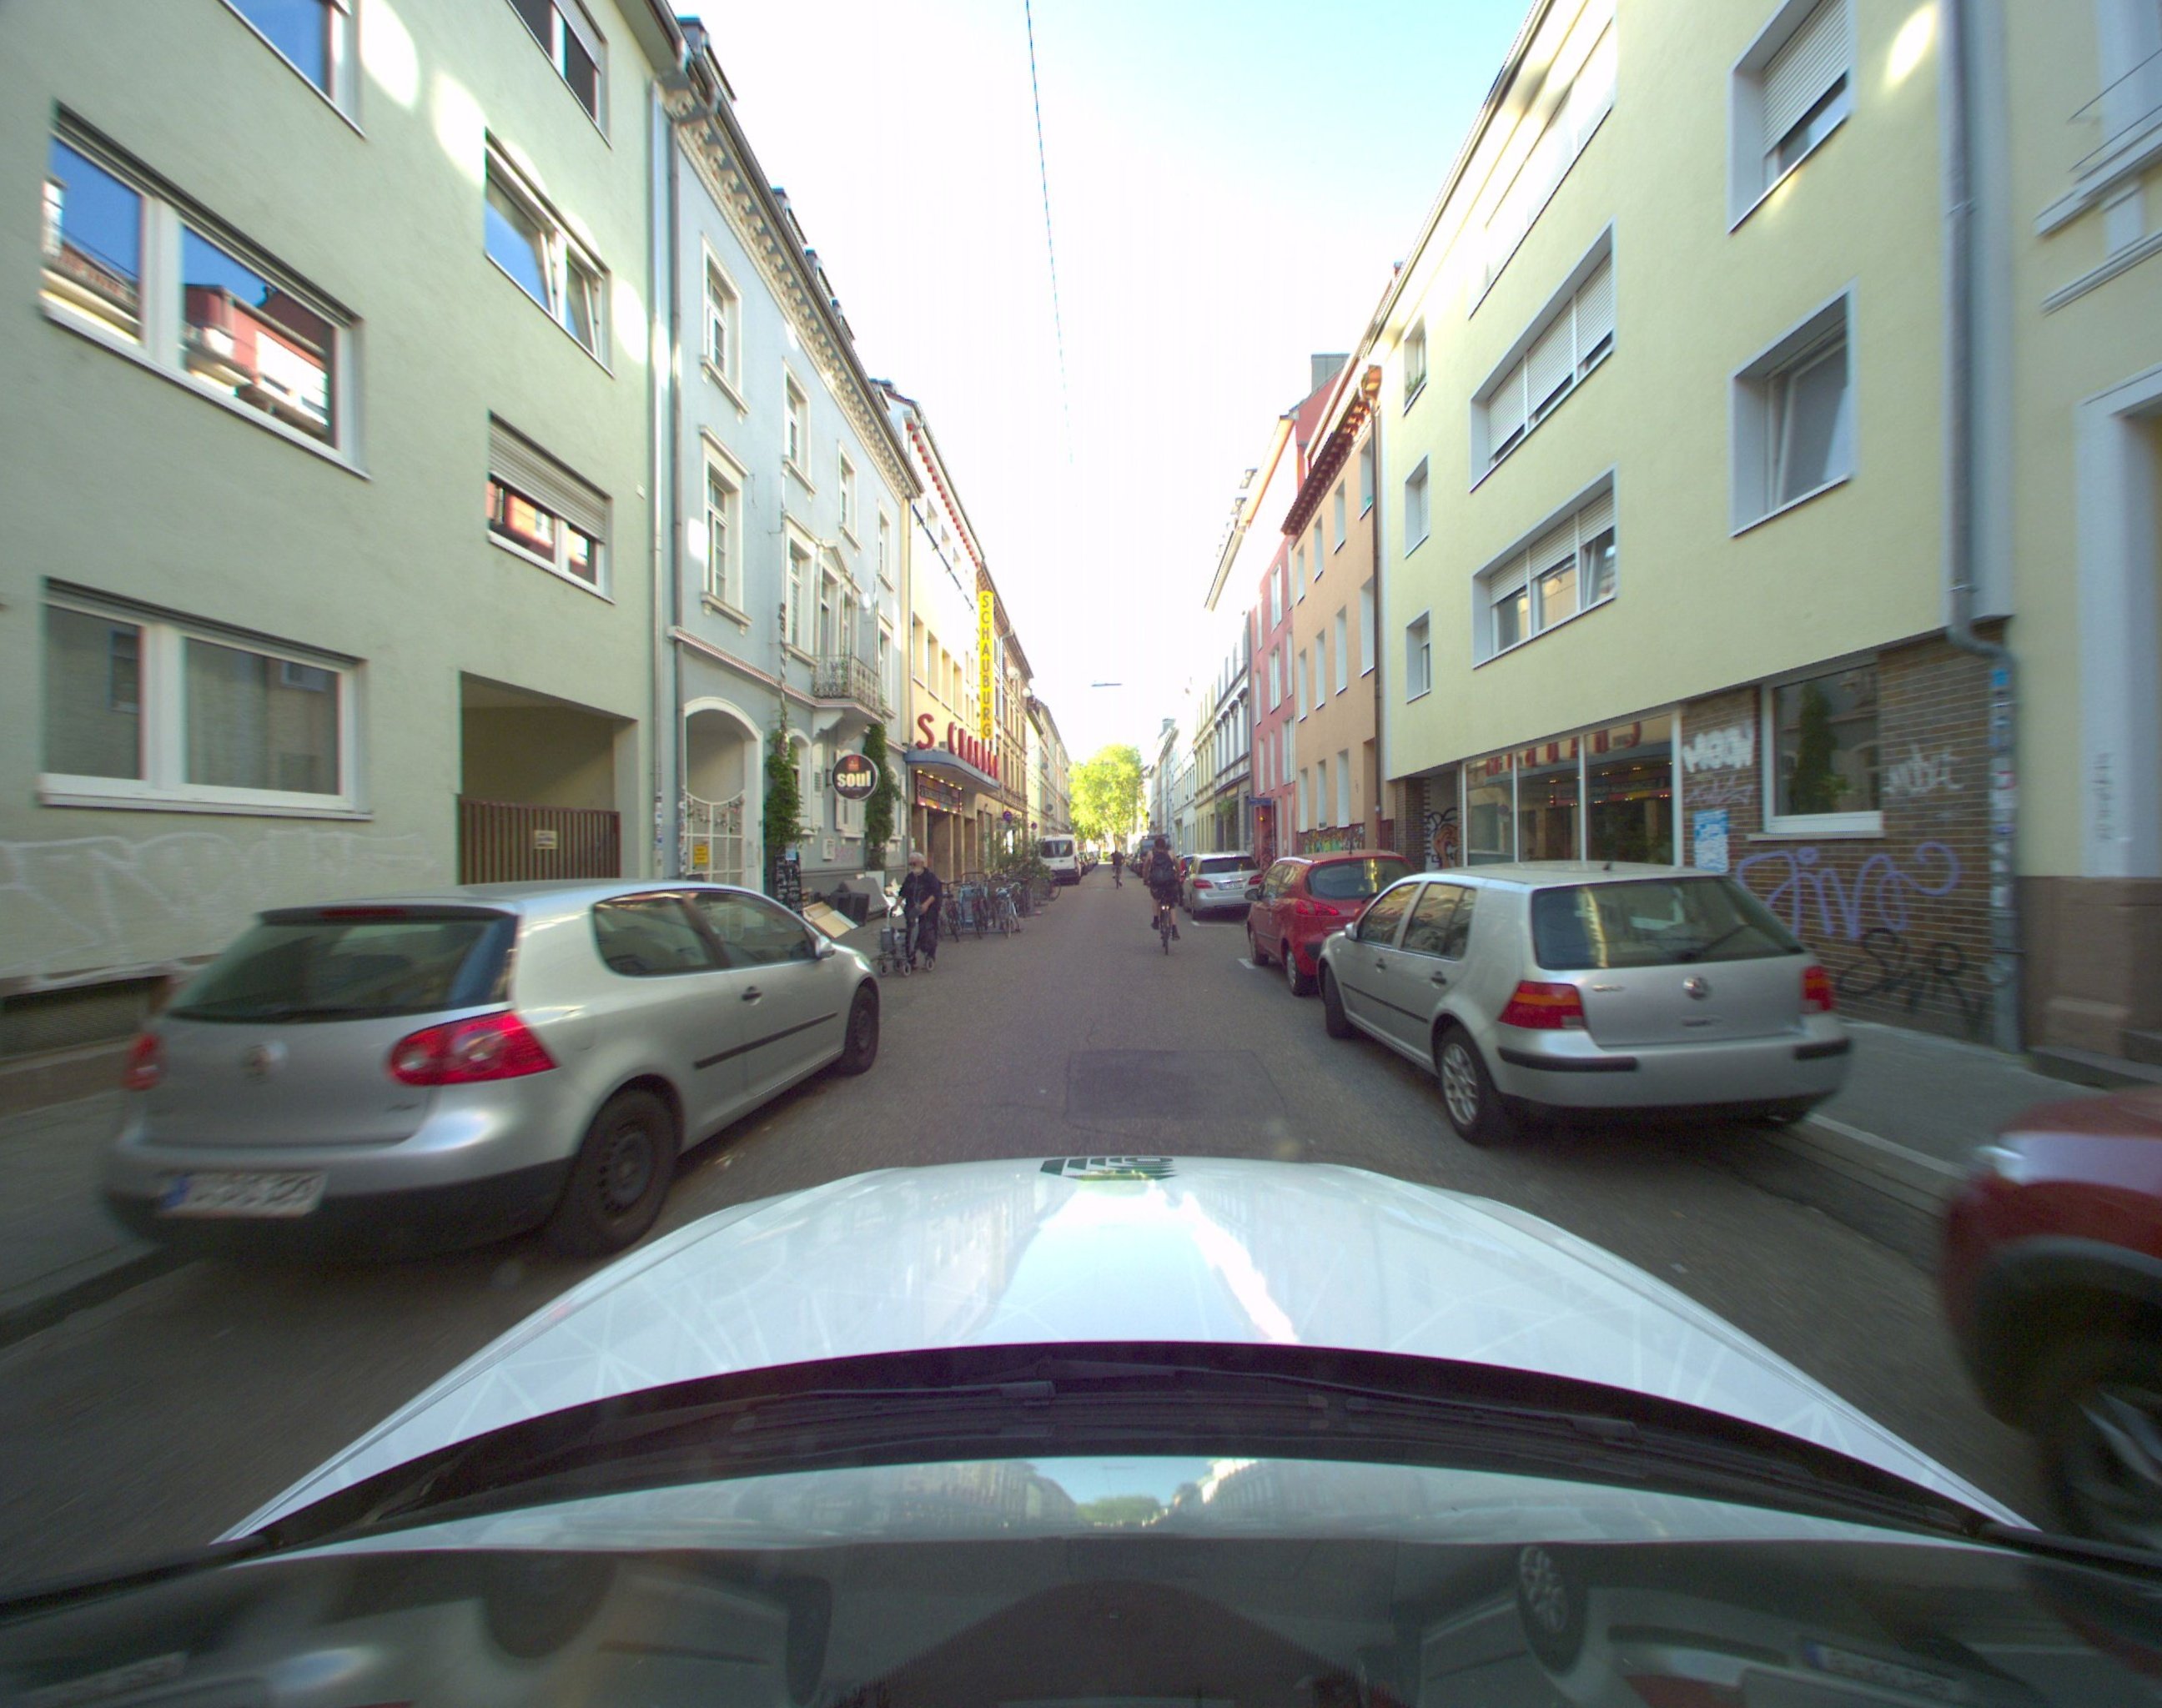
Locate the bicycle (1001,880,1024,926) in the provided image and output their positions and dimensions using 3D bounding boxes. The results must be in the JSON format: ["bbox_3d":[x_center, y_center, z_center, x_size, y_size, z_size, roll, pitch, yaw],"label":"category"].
[{"bbox_3d":[-1.472,1.038,17.552,0.320,0.916,1.291,-1,0,3],"label":"bicycle"}]

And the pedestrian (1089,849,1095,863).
[{"bbox_3d":[1.435,0.295,105.202,0.784,1.817,0.650,1,0,-5],"label":"pedestrian"}]

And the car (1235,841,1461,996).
[{"bbox_3d":[3.102,0.654,10.308,1.690,1.523,3.983,-2,0,3],"label":"car"}]

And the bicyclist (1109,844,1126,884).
[{"bbox_3d":[1.556,0.430,34.670,0.667,1.658,0.877,-1,0,2],"label":"bicyclist"}]

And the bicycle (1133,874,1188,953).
[{"bbox_3d":[1.230,0.891,12.958,0.737,1.100,2.043,1,0,2],"label":"bicycle"}]

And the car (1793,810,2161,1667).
[{"bbox_3d":[2.784,0.681,0.213,1.782,1.551,4.002,-1,0,2],"label":"car"}]

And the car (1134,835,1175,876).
[{"bbox_3d":[4.670,0.079,52.518,2.167,2.425,6.311,-2,0,2],"label":"car"}]

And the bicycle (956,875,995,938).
[{"bbox_3d":[-2.040,0.983,15.932,0.441,1.105,1.932,0,0,2],"label":"bicycle"}]

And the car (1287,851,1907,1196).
[{"bbox_3d":[2.804,0.740,5.687,1.682,1.453,4.194,-2,0,1],"label":"car"}]

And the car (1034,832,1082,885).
[{"bbox_3d":[-1.090,0.219,42.498,2.160,2.452,5.922,-2,0,1],"label":"car"}]

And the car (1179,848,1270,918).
[{"bbox_3d":[3.505,0.638,20.516,1.739,1.556,4.175,-1,0,3],"label":"car"}]

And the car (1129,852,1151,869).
[{"bbox_3d":[5.283,0.567,73.735,1.719,1.429,3.833,-1,0,1],"label":"car"}]

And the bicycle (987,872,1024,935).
[{"bbox_3d":[-1.454,0.937,15.953,0.497,1.105,1.830,0,0,2],"label":"bicycle"}]

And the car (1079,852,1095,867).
[{"bbox_3d":[0.665,0.601,90.830,1.599,1.530,3.379,-2,0,0],"label":"car"}]

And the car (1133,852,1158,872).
[{"bbox_3d":[5.037,0.585,63.839,1.739,1.485,4.245,-1,0,2],"label":"car"}]

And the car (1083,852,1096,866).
[{"bbox_3d":[1.006,0.566,98.202,1.540,1.550,3.463,-1,0,-1],"label":"car"}]

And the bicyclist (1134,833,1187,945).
[{"bbox_3d":[1.232,0.531,12.817,0.737,1.679,1.117,1,0,1],"label":"bicyclist"}]

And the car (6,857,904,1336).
[{"bbox_3d":[-2.483,0.796,4.621,1.672,1.454,4.040,-2,0,5],"label":"car"}]

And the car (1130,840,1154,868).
[{"bbox_3d":[5.915,0.007,79.109,2.194,2.550,6.043,-1,0,4],"label":"car"}]

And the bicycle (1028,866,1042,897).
[{"bbox_3d":[-1.624,0.969,29.035,0.441,1.047,1.864,1,0,-2],"label":"bicycle"}]

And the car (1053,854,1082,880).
[{"bbox_3d":[-0.772,0.724,48.548,1.640,1.447,3.840,-1,0,0],"label":"car"}]

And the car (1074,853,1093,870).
[{"bbox_3d":[0.261,0.695,75.832,1.585,1.440,3.656,-1,0,3],"label":"car"}]

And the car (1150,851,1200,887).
[{"bbox_3d":[4.236,0.642,37.388,1.780,1.454,4.548,-4,0,1],"label":"car"}]

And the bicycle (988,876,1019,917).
[{"bbox_3d":[-1.932,1.042,20.460,0.551,0.944,1.573,-1,0,3],"label":"bicycle"}]

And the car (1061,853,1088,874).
[{"bbox_3d":[-0.435,0.673,59.837,1.856,1.440,4.644,-2,1,0],"label":"car"}]

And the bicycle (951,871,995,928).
[{"bbox_3d":[-2.333,0.972,17.699,0.810,1.175,0.920,-1,0,0],"label":"bicycle"}]

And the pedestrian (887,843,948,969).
[{"bbox_3d":[-2.276,0.708,11.371,0.711,1.708,0.671,0,-1,-1],"label":"pedestrian"}]

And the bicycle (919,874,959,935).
[{"bbox_3d":[-2.780,0.962,16.067,0.441,1.105,1.698,0,0,2],"label":"bicycle"}]

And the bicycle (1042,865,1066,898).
[{"bbox_3d":[-0.949,0.932,27.954,0.461,1.047,1.742,1,0,-14],"label":"bicycle"}]

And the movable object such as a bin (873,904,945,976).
[{"bbox_3d":[-2.268,1.126,10.824,0.842,0.897,0.585,0,0,-3],"label":"movable object such as a bin"}]

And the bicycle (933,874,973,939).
[{"bbox_3d":[-2.405,0.963,15.501,0.442,1.105,1.874,0,0,1],"label":"bicycle"}]

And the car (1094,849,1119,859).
[{"bbox_3d":[4.748,0.033,149.795,4.458,1.759,1.864,-2,0,-3],"label":"car"}]

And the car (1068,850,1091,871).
[{"bbox_3d":[-0.115,0.545,70.859,1.794,1.698,4.002,-3,0,2],"label":"car"}]

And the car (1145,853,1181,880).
[{"bbox_3d":[4.619,0.665,46.283,1.740,1.444,4.174,-1,0,2],"label":"car"}]

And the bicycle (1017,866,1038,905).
[{"bbox_3d":[-1.595,0.921,24.436,0.544,1.094,1.880,1,0,-2],"label":"bicycle"}]

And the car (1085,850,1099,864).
[{"bbox_3d":[1.457,0.403,110.403,1.781,1.737,3.877,-1,0,2],"label":"car"}]

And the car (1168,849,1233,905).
[{"bbox_3d":[3.648,0.664,25.332,1.595,1.539,3.453,-3,0,3],"label":"car"}]

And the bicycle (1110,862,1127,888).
[{"bbox_3d":[1.589,0.877,34.731,0.661,1.037,1.960,-1,0,2],"label":"bicycle"}]

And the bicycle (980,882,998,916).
[{"bbox_3d":[-2.367,1.149,21.024,0.255,0.817,1.300,0,0,3],"label":"bicycle"}]

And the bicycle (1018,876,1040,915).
[{"bbox_3d":[-1.314,1.053,20.796,0.388,0.916,1.394,-1,0,3],"label":"bicycle"}]
